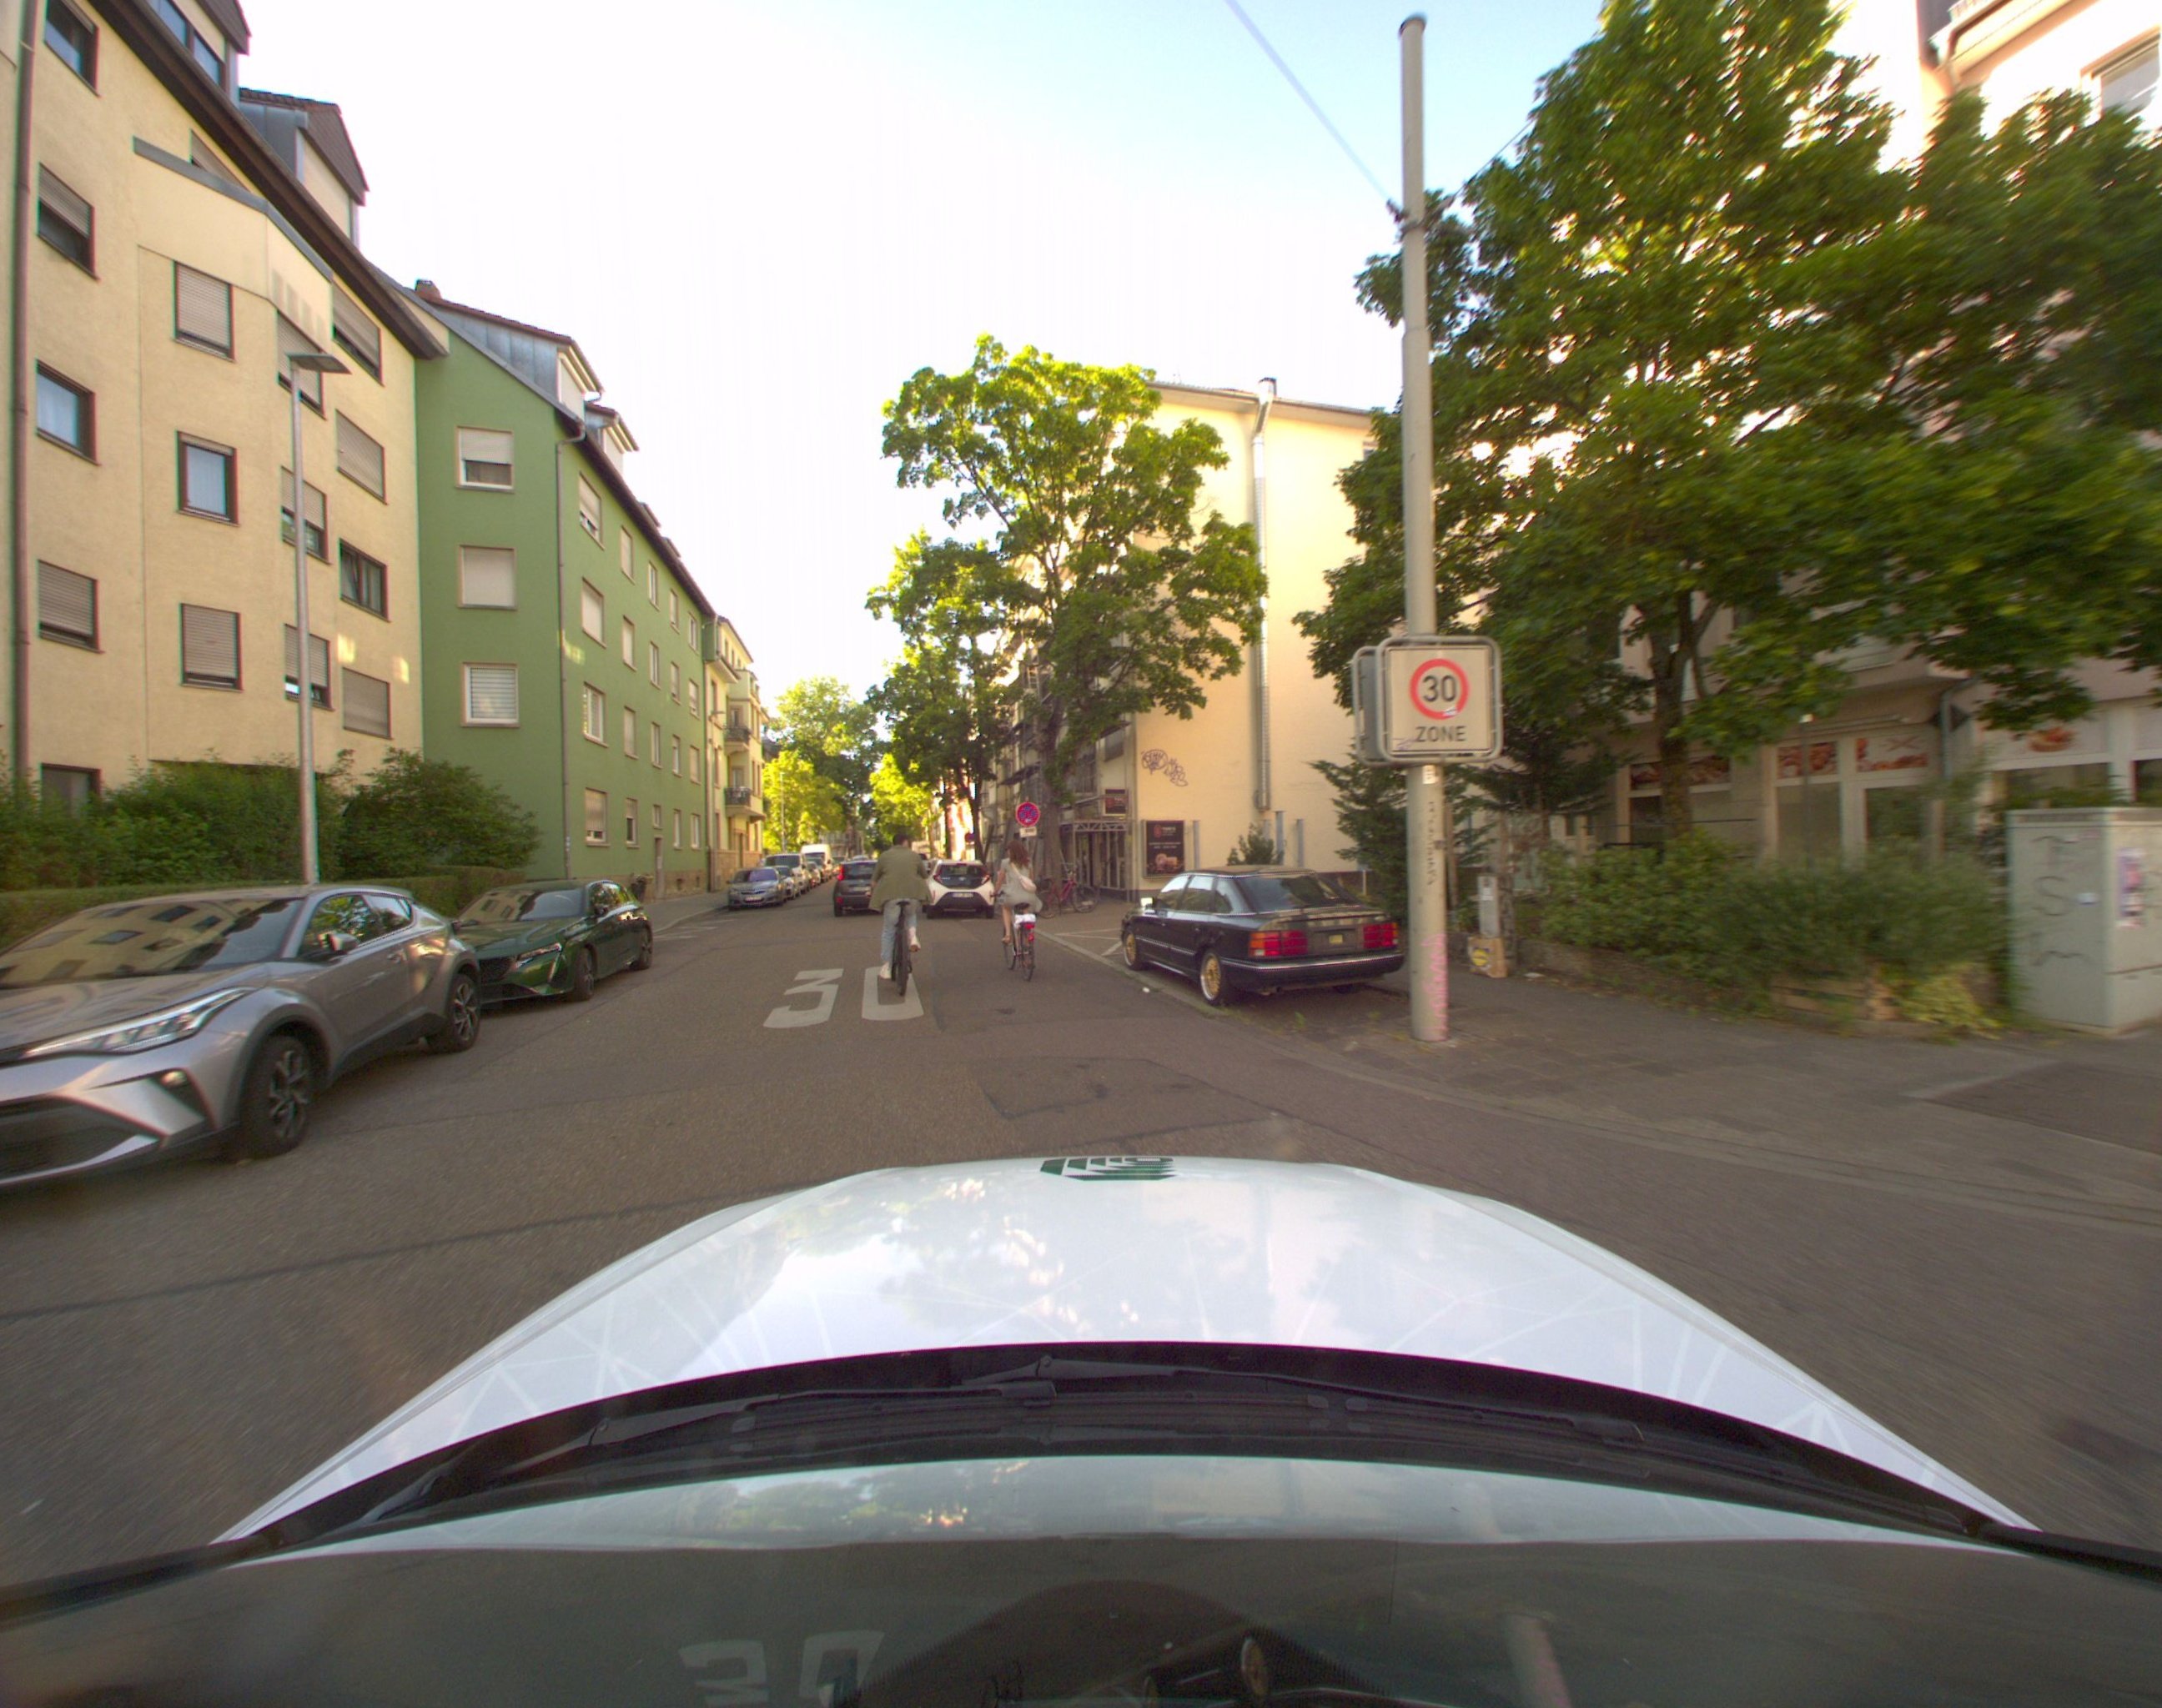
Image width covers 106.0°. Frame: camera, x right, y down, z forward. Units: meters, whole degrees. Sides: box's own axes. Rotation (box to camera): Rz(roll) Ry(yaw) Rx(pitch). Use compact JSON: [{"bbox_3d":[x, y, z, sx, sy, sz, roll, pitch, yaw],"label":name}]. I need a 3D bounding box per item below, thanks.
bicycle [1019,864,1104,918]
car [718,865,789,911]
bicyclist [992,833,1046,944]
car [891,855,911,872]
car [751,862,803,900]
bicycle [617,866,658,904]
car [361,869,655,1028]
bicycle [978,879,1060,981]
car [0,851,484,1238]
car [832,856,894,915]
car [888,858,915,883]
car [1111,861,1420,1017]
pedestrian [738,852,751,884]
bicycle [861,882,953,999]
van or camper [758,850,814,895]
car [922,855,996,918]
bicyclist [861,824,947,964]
[{"bbox_3d":[-0.477,0.892,20.264,1.994,1.165,0.719,-4,1,-32],"label":"bicycle"},{"bbox_3d":[-11.589,1.153,29.032,1.983,1.455,4.089,0,-1,-17],"label":"car"},{"bbox_3d":[-0.823,0.459,10.664,0.622,1.381,0.865,-2,-4,-8],"label":"bicyclist"},{"bbox_3d":[-17.849,0.941,80.588,1.690,1.604,3.978,-1,0,-16],"label":"car"},{"bbox_3d":[-12.683,1.072,34.157,1.690,1.453,3.690,-1,0,-16],"label":"car"},{"bbox_3d":[-14.536,0.995,26.756,0.551,1.178,2.268,2,-1,-13],"label":"bicycle"},{"bbox_3d":[-6.996,0.997,10.516,1.756,1.497,4.113,-3,0,-16],"label":"car"},{"bbox_3d":[-0.872,0.945,10.857,0.839,1.149,2.224,1,-1,-10],"label":"bicycle"},{"bbox_3d":[-5.754,0.881,5.283,1.910,1.659,3.973,-3,0,-20],"label":"car"},{"bbox_3d":[-6.192,0.832,23.278,1.559,1.533,3.469,-1,0,-14],"label":"car"},{"bbox_3d":[-12.977,1.142,58.756,1.690,1.684,3.978,-1,0,-16],"label":"car"},{"bbox_3d":[1.832,0.785,9.740,1.711,1.388,4.547,0,0,-15],"label":"car"},{"bbox_3d":[-20.787,0.853,50.273,0.686,1.919,0.614,-1,0,-20],"label":"pedestrian"},{"bbox_3d":[-2.150,0.957,9.826,0.841,1.149,2.219,-1,0,-18],"label":"bicycle"},{"bbox_3d":[-14.298,0.840,39.718,1.996,2.013,4.888,-1,0,-14],"label":"van or camper"},{"bbox_3d":[-3.354,0.820,21.938,1.677,1.545,3.387,0,0,-14],"label":"car"},{"bbox_3d":[-2.106,0.464,9.621,0.884,1.562,0.862,-1,-3,-19],"label":"bicyclist"}]
